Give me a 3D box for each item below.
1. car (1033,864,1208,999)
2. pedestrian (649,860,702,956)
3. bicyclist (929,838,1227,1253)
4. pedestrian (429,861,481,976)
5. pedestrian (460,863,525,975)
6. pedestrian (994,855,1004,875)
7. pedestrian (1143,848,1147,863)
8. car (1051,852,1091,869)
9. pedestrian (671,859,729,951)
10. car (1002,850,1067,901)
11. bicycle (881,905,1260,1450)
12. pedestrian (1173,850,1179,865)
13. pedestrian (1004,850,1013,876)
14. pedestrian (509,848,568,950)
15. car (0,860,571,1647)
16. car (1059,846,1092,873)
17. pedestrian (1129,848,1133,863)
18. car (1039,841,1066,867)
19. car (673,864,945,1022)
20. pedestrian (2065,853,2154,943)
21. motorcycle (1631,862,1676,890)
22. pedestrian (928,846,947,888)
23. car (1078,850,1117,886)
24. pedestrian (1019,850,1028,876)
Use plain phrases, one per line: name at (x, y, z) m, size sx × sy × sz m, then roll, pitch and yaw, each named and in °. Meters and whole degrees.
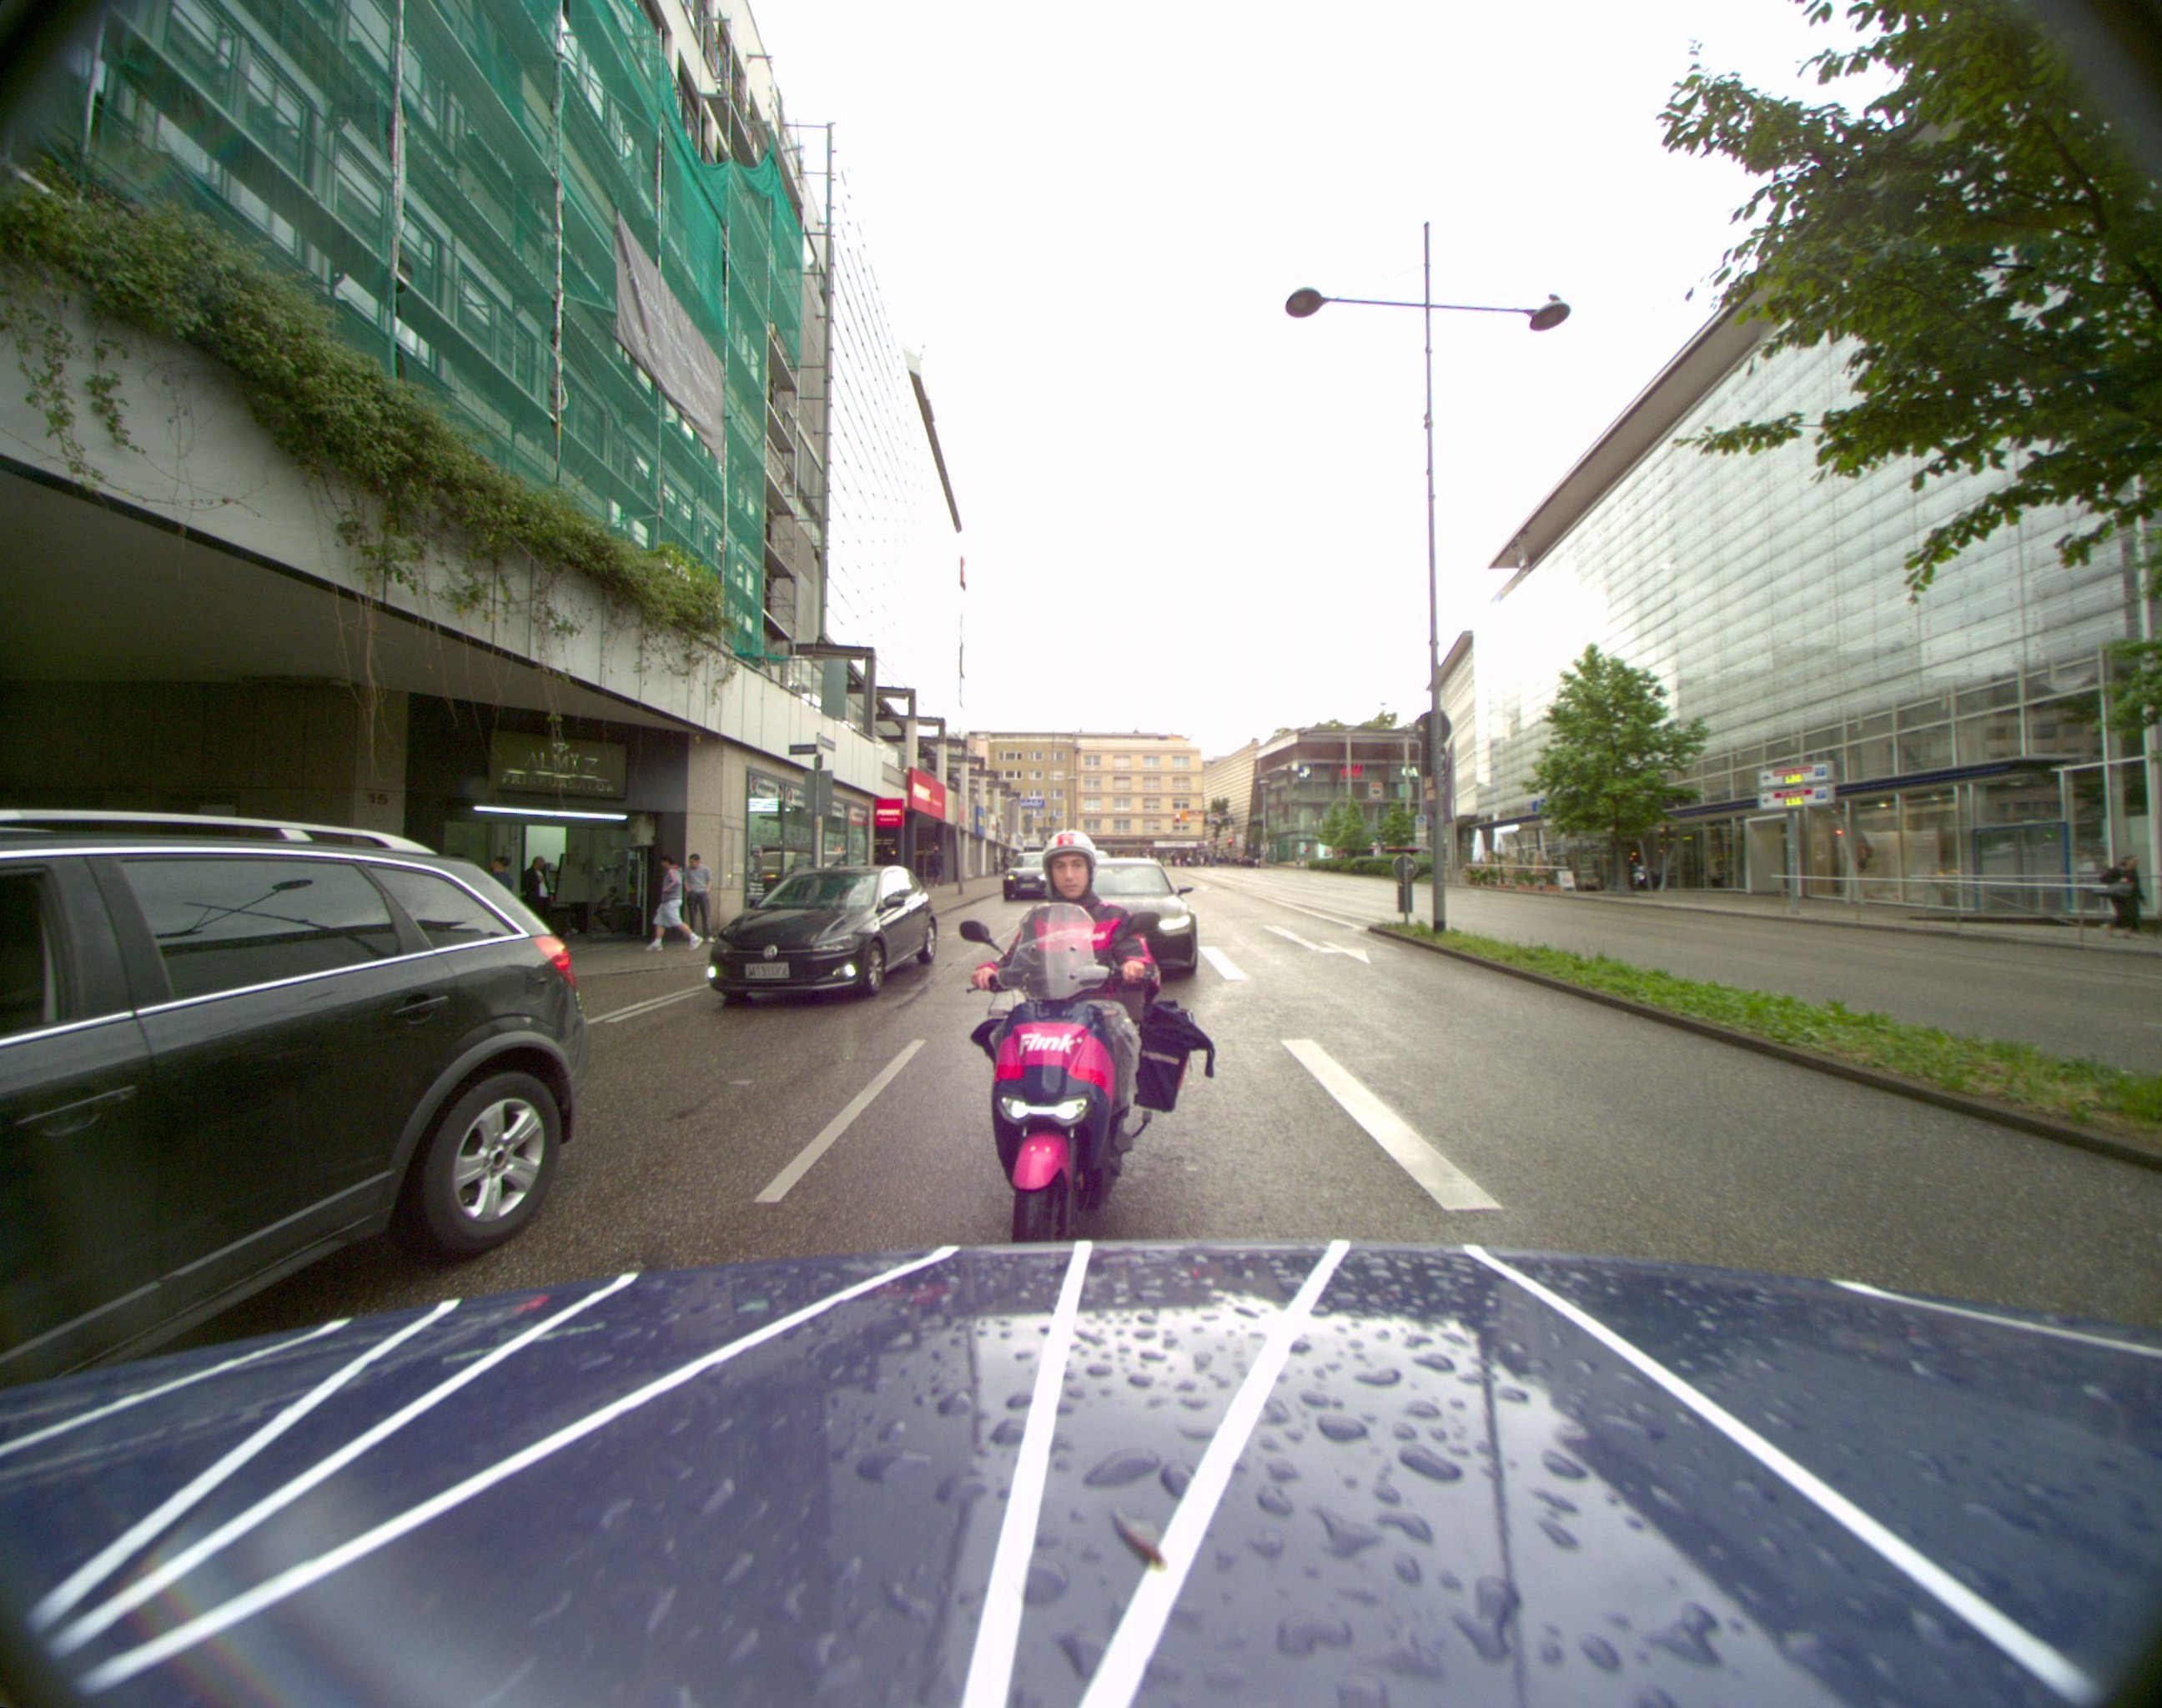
car at (0.520, 0.890, 10.484) m, size 1.890 × 1.392 × 4.164 m, roll -2°, pitch 0°, yaw 2°
pedestrian at (-7.037, 0.921, 13.211) m, size 0.579 × 1.618 × 0.676 m, roll 0°, pitch 2°, yaw -4°
bicyclist at (-0.003, 0.718, 3.259) m, size 1.063 × 1.534 × 0.825 m, roll -2°, pitch 2°, yaw 0°
pedestrian at (-9.618, 0.966, 11.676) m, size 0.466 × 1.698 × 0.484 m, roll 0°, pitch 2°, yaw 42°
pedestrian at (-8.748, 0.939, 11.324) m, size 0.640 × 1.586 × 0.576 m, roll -3°, pitch 2°, yaw -32°
pedestrian at (-4.834, 0.660, 44.760) m, size 0.510 × 1.160 × 0.579 m, roll 0°, pitch 2°, yaw 0°
pedestrian at (7.279, 0.172, 86.701) m, size 0.428 × 1.620 × 0.602 m, roll 1°, pitch 1°, yaw 3°
car at (-1.214, 0.735, 92.620) m, size 4.588 × 2.002 × 1.998 m, roll 0°, pitch 1°, yaw -10°
pedestrian at (-7.069, 0.925, 14.119) m, size 0.639 × 1.633 × 0.733 m, roll -2°, pitch 2°, yaw -3°
car at (-1.559, 0.688, 27.028) m, size 1.841 × 1.598 × 4.164 m, roll -2°, pitch 1°, yaw 2°
bicycle at (-0.011, 1.027, 3.635) m, size 1.034 × 1.279 × 2.948 m, roll -2°, pitch 1°, yaw 1°
pedestrian at (10.806, 0.386, 86.428) m, size 0.626 × 1.764 × 0.689 m, roll -2°, pitch 2°, yaw 5°
pedestrian at (-4.277, 0.516, 44.740) m, size 0.510 × 1.492 × 0.579 m, roll 0°, pitch 2°, yaw 0°
pedestrian at (-9.966, 0.796, 13.954) m, size 0.771 × 1.805 × 0.745 m, roll 2°, pitch 2°, yaw 44°
car at (-3.323, 0.916, 1.459) m, size 1.764 × 1.755 × 4.164 m, roll -2°, pitch -1°, yaw 1°
car at (-0.320, 0.372, 51.892) m, size 1.988 × 1.696 × 4.165 m, roll -2°, pitch -1°, yaw 2°
pedestrian at (5.586, 0.170, 85.066) m, size 0.428 × 1.620 × 0.602 m, roll 1°, pitch 1°, yaw 5°
car at (-2.339, -0.015, 62.840) m, size 1.605 × 2.002 × 3.401 m, roll -2°, pitch 1°, yaw 7°
car at (-3.078, 0.917, 9.626) m, size 1.759 × 1.495 × 4.165 m, roll -2°, pitch -1°, yaw 2°
pedestrian at (19.506, 0.819, 14.430) m, size 0.635 × 1.628 × 0.790 m, roll -2°, pitch 2°, yaw 8°
motorcycle at (28.083, 1.064, 37.309) m, size 1.707 × 1.319 × 0.620 m, roll 0°, pitch 1°, yaw 1°
pedestrian at (-5.776, 0.503, 30.648) m, size 0.578 × 1.669 × 0.511 m, roll 1°, pitch 2°, yaw 22°
car at (0.826, 0.643, 35.857) m, size 1.675 × 1.520 × 4.165 m, roll -2°, pitch -1°, yaw 2°
pedestrian at (-3.373, 0.520, 44.788) m, size 0.510 × 1.492 × 0.579 m, roll 0°, pitch 2°, yaw 0°
